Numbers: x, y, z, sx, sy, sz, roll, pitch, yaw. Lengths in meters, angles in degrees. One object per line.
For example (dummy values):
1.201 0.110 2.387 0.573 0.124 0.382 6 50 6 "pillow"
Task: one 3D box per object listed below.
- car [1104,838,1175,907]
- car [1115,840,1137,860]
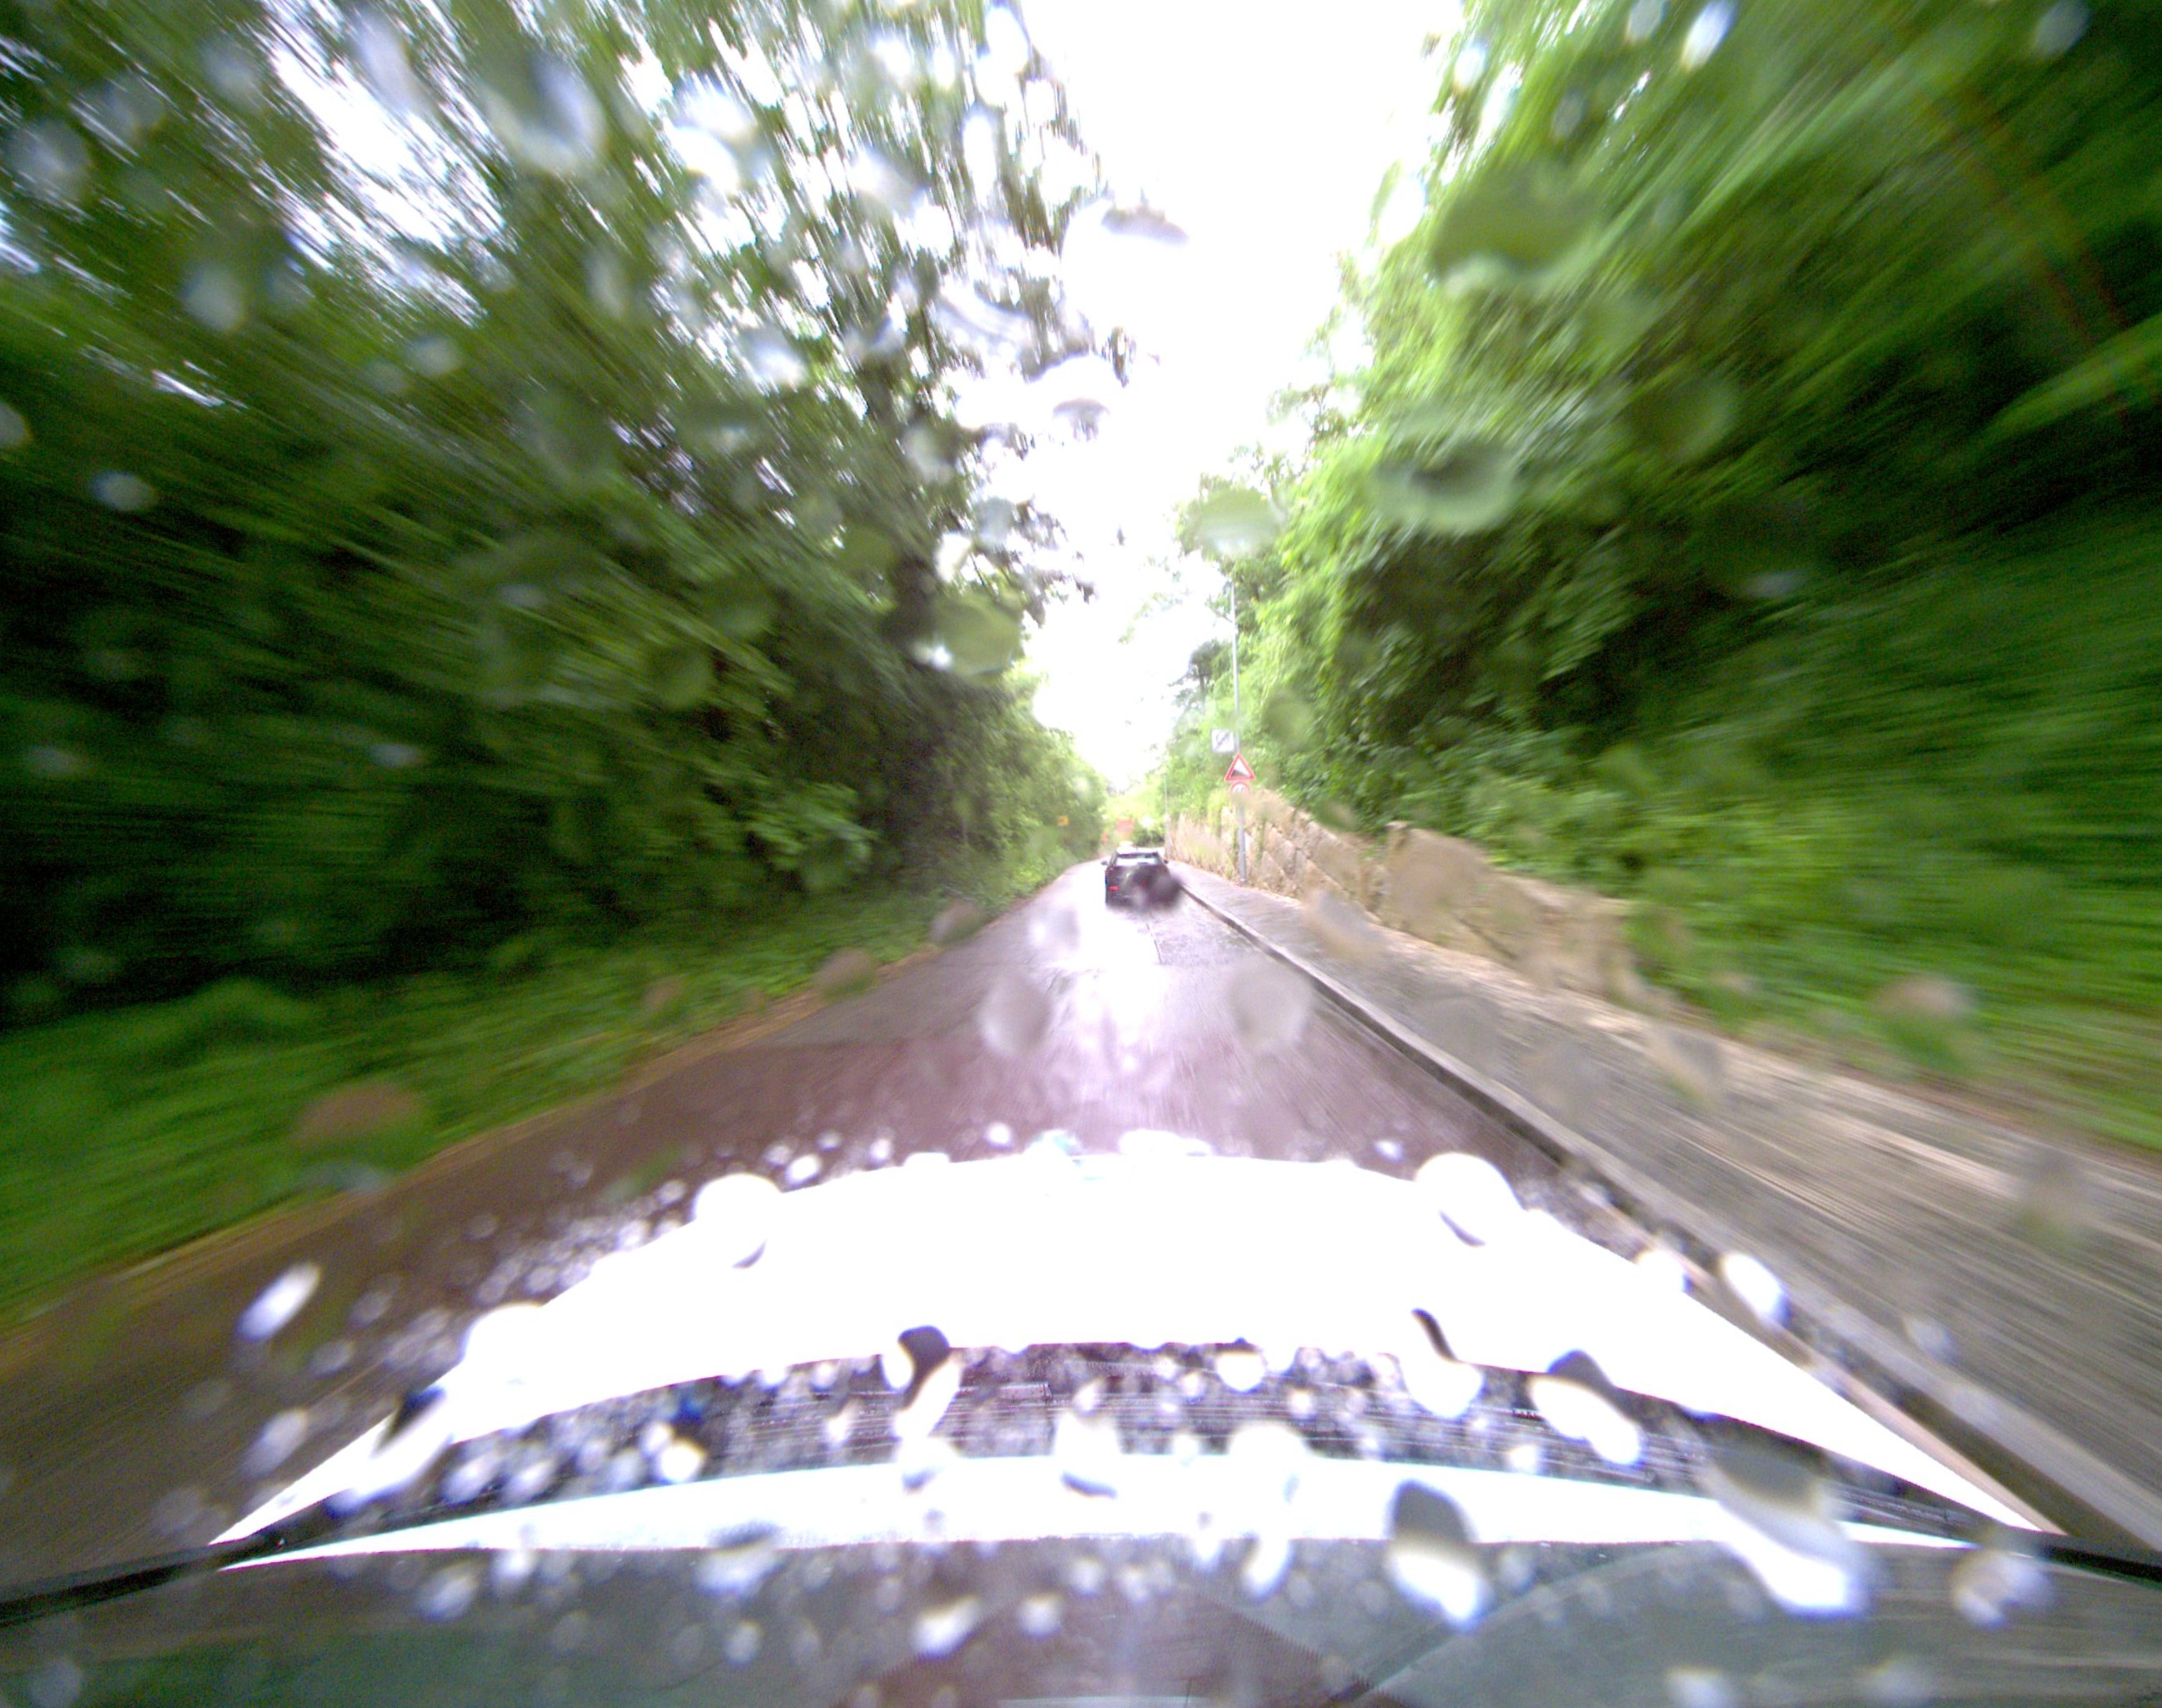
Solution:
1.541 0.444 22.725 1.693 1.449 4.003 -3 4 1 "car"
4.001 -0.402 72.930 1.856 1.743 4.001 -1 1 1 "car"
